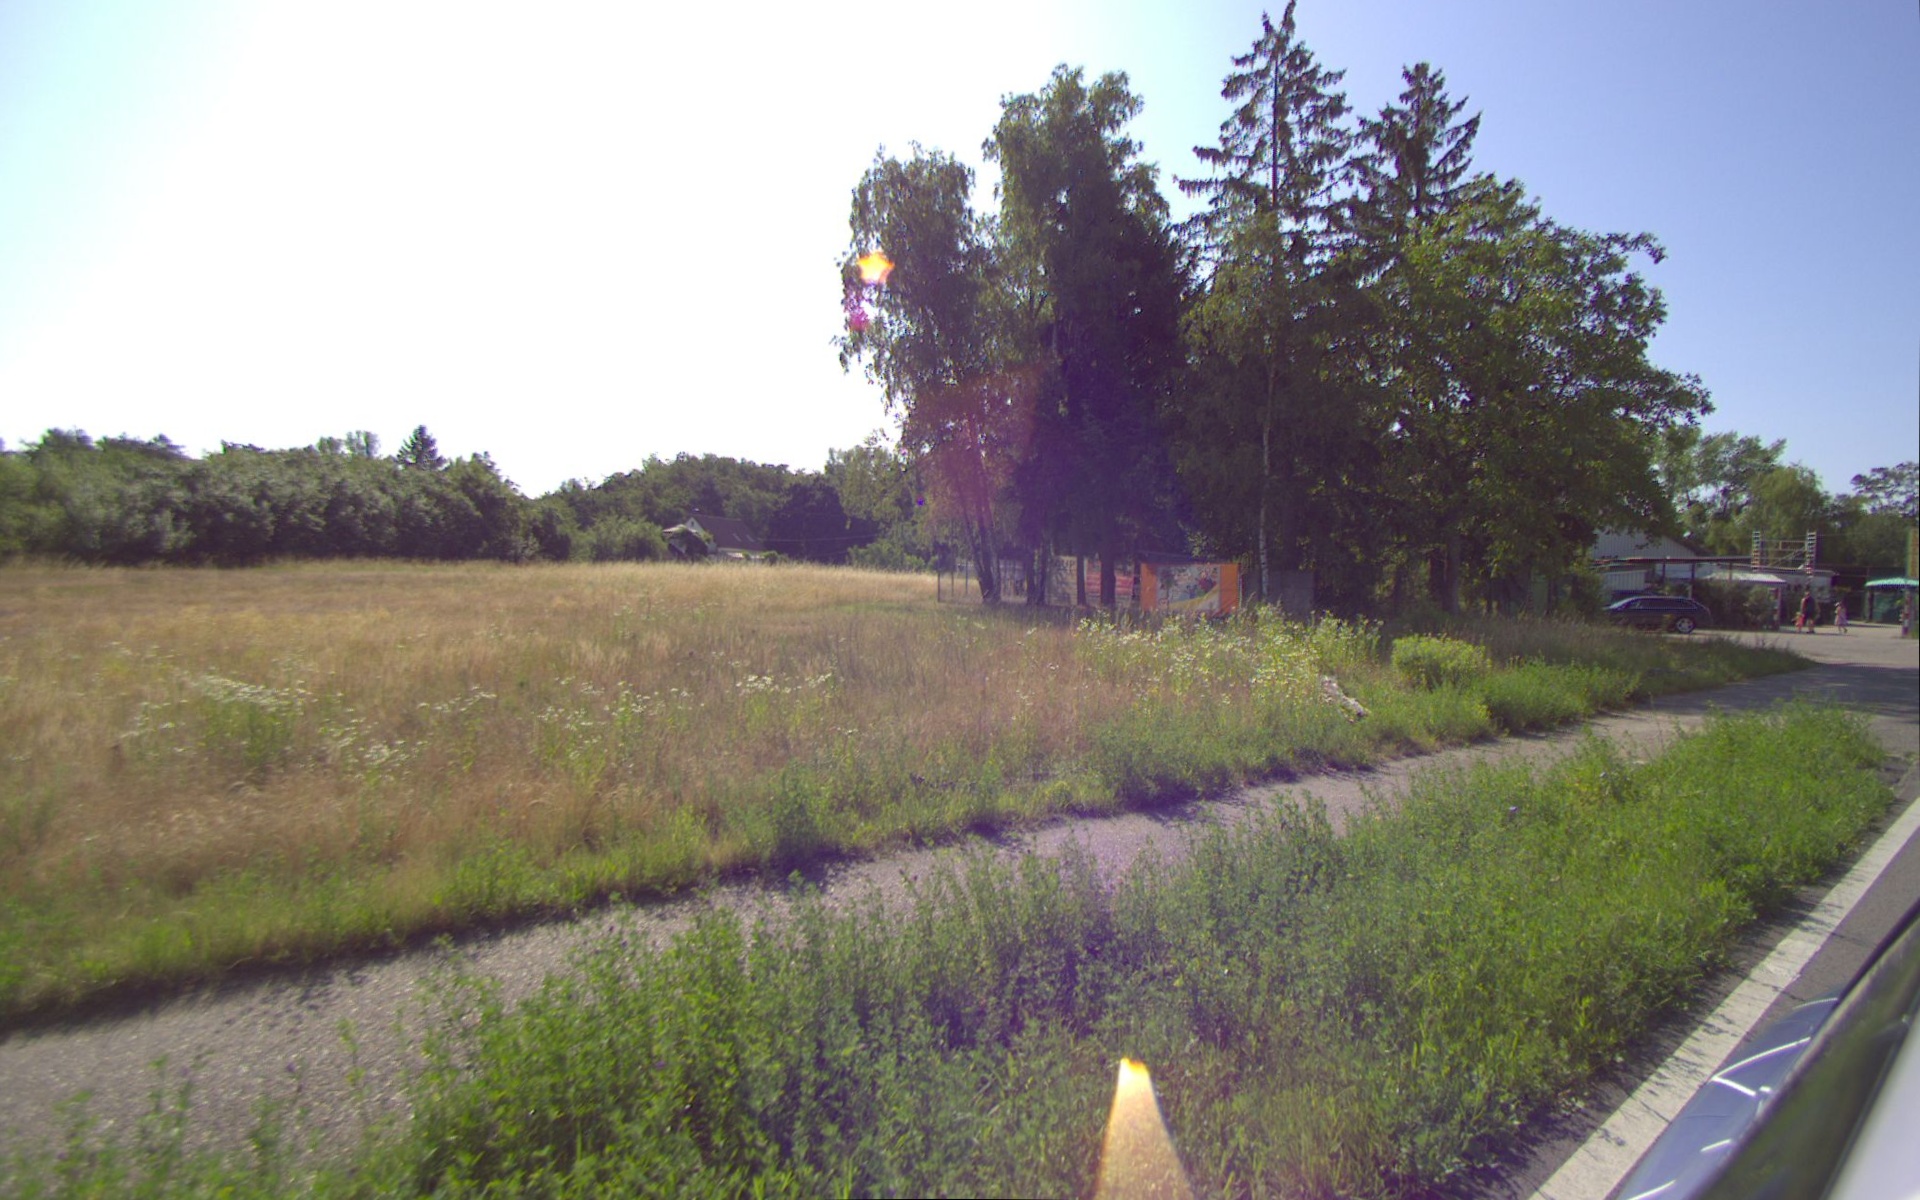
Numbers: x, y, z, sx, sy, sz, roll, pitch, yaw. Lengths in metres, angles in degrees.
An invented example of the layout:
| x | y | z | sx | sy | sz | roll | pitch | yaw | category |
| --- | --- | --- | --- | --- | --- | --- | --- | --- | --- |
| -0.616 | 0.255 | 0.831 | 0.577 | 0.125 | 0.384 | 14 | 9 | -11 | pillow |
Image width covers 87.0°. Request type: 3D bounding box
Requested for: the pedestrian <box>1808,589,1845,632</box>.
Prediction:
| x | y | z | sx | sy | sz | roll | pitch | yaw | category |
| --- | --- | --- | --- | --- | --- | --- | --- | --- | --- |
| 37.309 | 0.445 | 43.601 | 1.094 | 1.808 | 0.924 | 2 | 1 | 37 | pedestrian |

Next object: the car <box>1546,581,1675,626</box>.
| x | y | z | sx | sy | sz | roll | pitch | yaw | category |
| --- | --- | --- | --- | --- | --- | --- | --- | --- | --- |
| 28.516 | 0.138 | 44.550 | 4.410 | 1.826 | 1.851 | 2 | 1 | 21 | car |

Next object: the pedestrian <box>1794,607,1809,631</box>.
| x | y | z | sx | sy | sz | roll | pitch | yaw | category |
| --- | --- | --- | --- | --- | --- | --- | --- | --- | --- |
| 36.400 | 0.825 | 43.768 | 0.468 | 0.996 | 0.334 | 2 | 1 | 37 | pedestrian |

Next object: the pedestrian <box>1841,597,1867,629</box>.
| x | y | z | sx | sy | sz | roll | pitch | yaw | category |
| --- | --- | --- | --- | --- | --- | --- | --- | --- | --- |
| 38.751 | 0.569 | 43.875 | 0.721 | 1.354 | 0.815 | 2 | 1 | 37 | pedestrian |

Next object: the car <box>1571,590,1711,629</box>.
| x | y | z | sx | sy | sz | roll | pitch | yaw | category |
| --- | --- | --- | --- | --- | --- | --- | --- | --- | --- |
| 27.694 | 0.363 | 41.338 | 4.410 | 1.448 | 1.703 | 2 | 1 | 21 | car |
